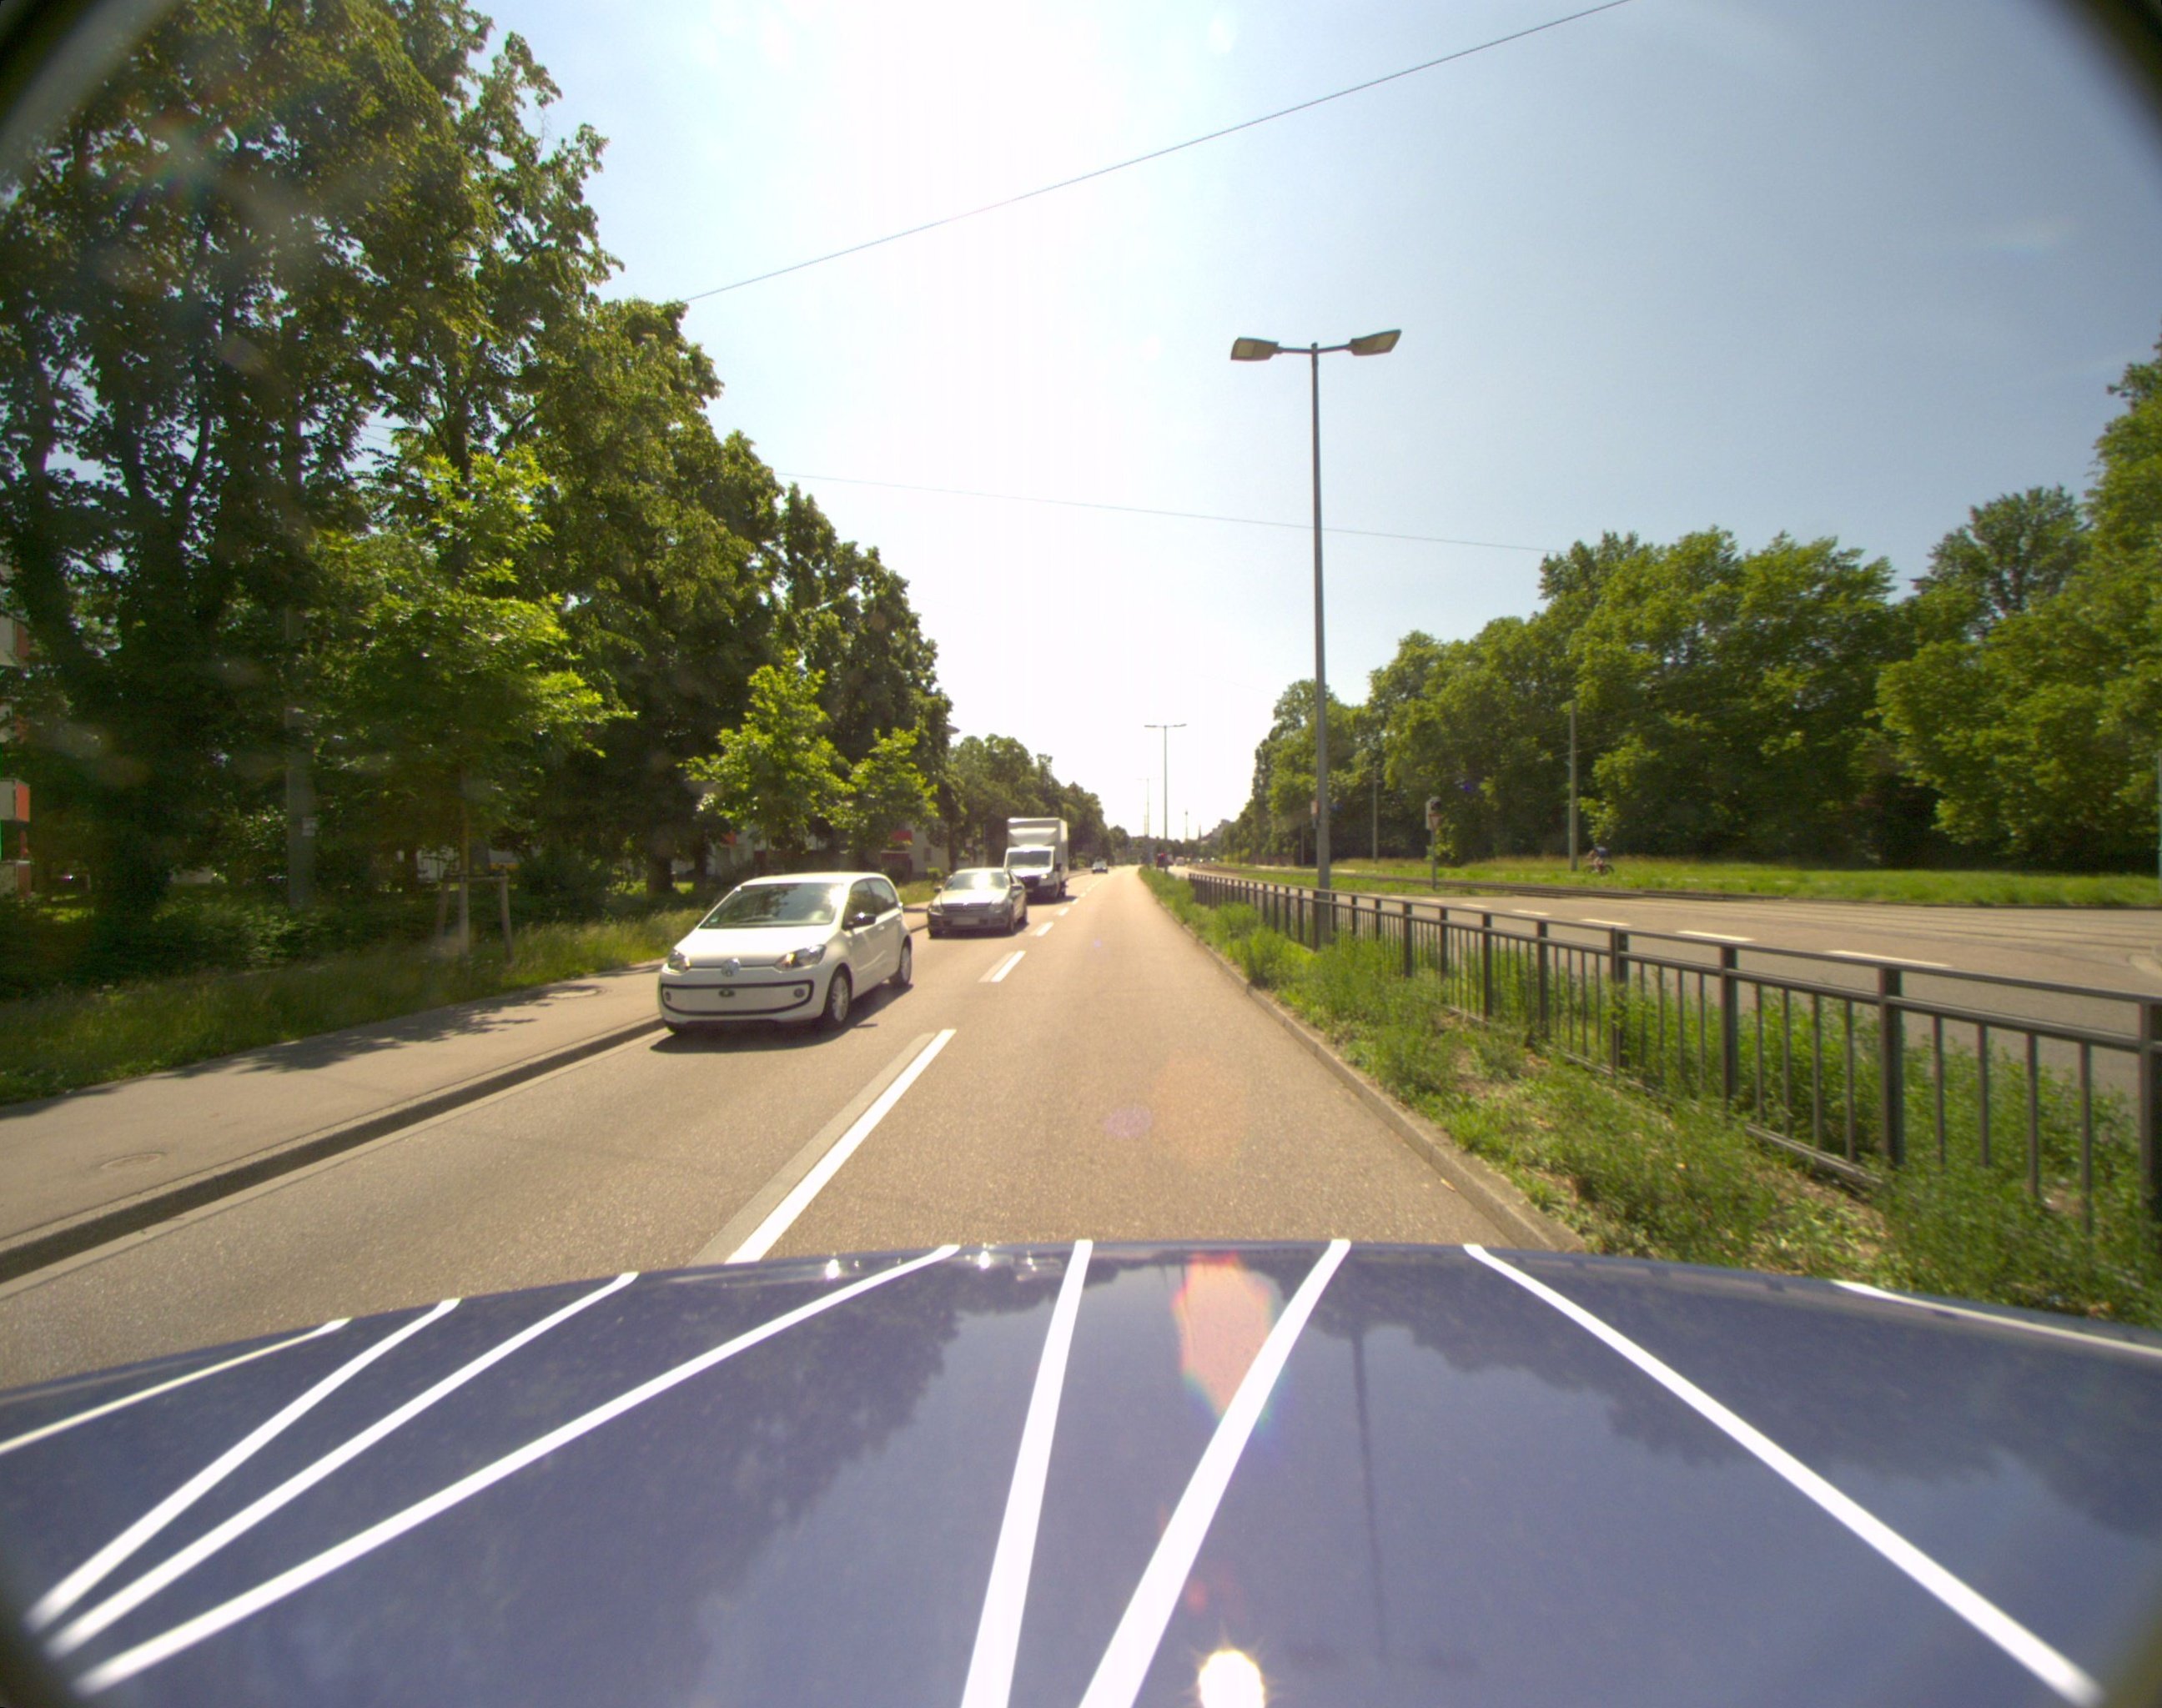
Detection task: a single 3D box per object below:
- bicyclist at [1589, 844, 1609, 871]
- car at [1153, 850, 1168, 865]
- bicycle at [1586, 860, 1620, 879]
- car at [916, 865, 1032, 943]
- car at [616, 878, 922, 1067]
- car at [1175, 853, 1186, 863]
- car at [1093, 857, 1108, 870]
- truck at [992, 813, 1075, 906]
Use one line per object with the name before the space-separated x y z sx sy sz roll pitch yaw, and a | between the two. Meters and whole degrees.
bicyclist | 25.401 0.179 37.267 0.509 1.328 0.680 -1 0 -5
car | 13.055 0.601 124.921 1.998 2.352 5.374 0 0 2
bicycle | 25.591 0.768 37.271 0.509 0.896 1.565 -1 0 -5
car | -2.279 1.038 17.291 1.903 1.451 3.971 -1 0 2
car | -3.065 1.076 8.411 1.663 1.441 3.855 -2 0 2
car | 22.297 0.907 170.120 1.998 2.002 5.031 0 0 2
car | 2.359 1.115 92.312 1.829 1.556 4.000 -1 0 2
truck | -1.727 0.197 31.420 2.294 3.259 8.314 -1 0 4
